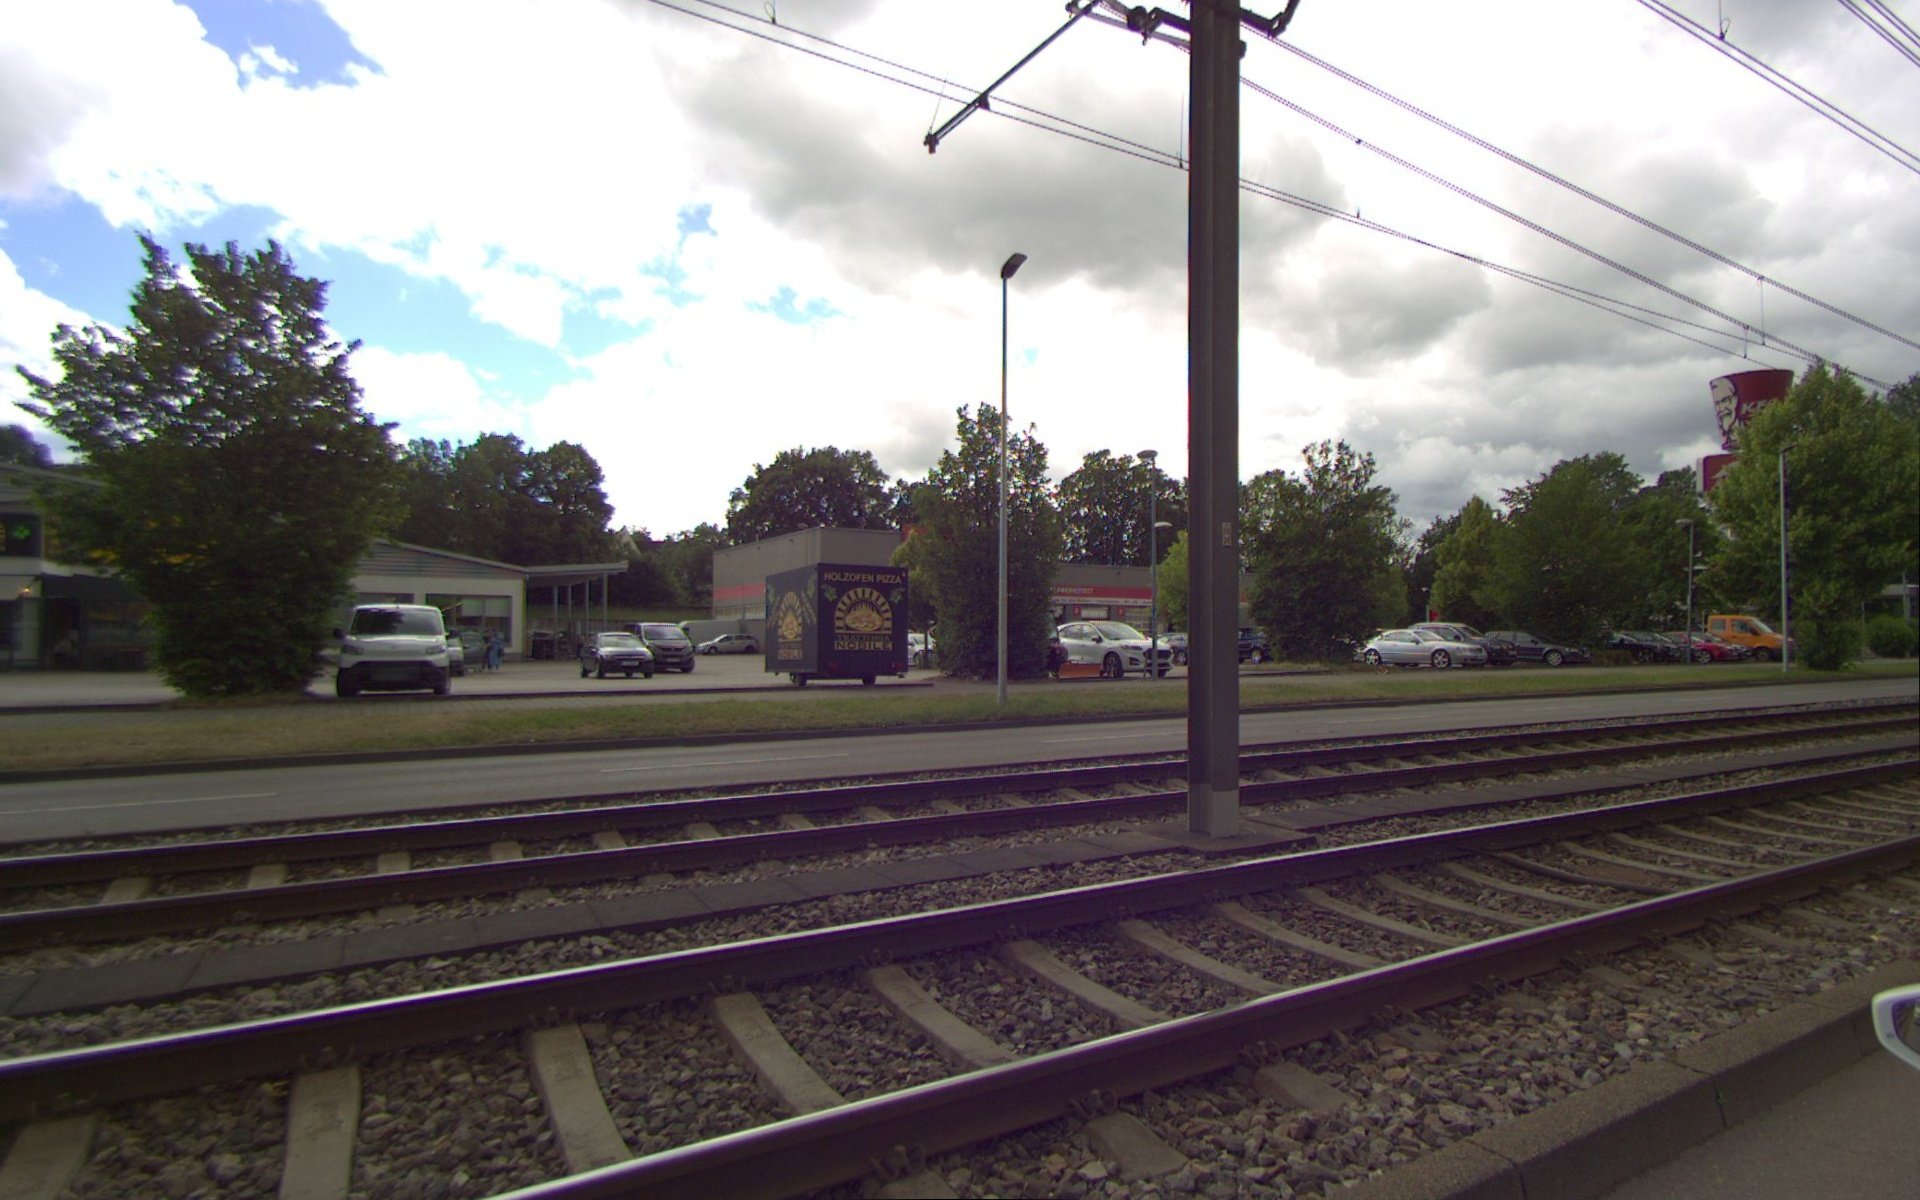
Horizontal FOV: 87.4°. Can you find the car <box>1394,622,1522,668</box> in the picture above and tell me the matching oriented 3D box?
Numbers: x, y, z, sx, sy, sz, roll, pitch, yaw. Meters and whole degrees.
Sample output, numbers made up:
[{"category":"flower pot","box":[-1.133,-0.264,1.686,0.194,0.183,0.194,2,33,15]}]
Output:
[{"category":"car","box":[18.788,1.686,38.025,1.859,1.656,3.963,1,-2,-34]}]

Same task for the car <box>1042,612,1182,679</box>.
[{"category":"car","box":[4.359,1.309,29.239,1.859,1.821,3.963,1,-2,-34]}]

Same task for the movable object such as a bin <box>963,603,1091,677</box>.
[{"category":"movable object such as a bin","box":[1.849,1.156,28.851,1.661,1.963,3.964,1,-3,-33]}]

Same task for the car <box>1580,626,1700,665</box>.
[{"category":"car","box":[29.644,1.960,43.895,1.859,1.620,3.963,1,-2,-34]}]

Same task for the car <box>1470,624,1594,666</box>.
[{"category":"car","box":[23.242,1.828,40.934,1.859,1.620,3.963,1,-2,-34]}]

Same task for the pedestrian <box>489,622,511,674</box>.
[{"category":"pedestrian","box":[-16.861,1.738,36.806,0.656,1.879,0.542,1,-2,-30]}]

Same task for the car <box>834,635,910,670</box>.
[{"category":"car","box":[-3.900,2.283,44.184,1.664,1.491,3.716,1,-3,-36]}]

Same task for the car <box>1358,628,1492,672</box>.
[{"category":"car","box":[16.901,1.770,36.705,1.661,1.491,4.284,1,-2,-32]}]

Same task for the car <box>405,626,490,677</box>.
[{"category":"car","box":[-17.921,1.780,35.012,2.438,1.661,3.903,1,-2,-30]}]

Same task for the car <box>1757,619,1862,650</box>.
[{"category":"car","box":[45.703,1.851,54.112,1.778,1.620,3.963,1,-2,-34]}]

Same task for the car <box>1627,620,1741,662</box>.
[{"category":"car","box":[33.905,1.878,47.135,1.859,1.821,3.962,1,-1,-34]}]

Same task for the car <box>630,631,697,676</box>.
[{"category":"car","box":[-11.597,2.053,39.146,1.668,1.661,3.903,1,-2,-30]}]

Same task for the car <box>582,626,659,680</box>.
[{"category":"car","box":[-11.120,1.693,32.747,1.668,1.661,3.903,1,-2,-30]}]

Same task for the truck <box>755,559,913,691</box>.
[{"category":"truck","box":[-3.105,0.631,24.073,2.350,2.859,3.966,1,-2,-32]}]

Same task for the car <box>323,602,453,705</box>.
[{"category":"car","box":[-11.084,0.996,19.426,1.973,1.750,4.199,1,-2,-31]}]

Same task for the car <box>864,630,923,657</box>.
[{"category":"car","box":[-3.832,2.481,57.348,1.664,1.491,3.716,1,-3,-36]}]

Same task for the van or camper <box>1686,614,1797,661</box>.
[{"category":"van or camper","box":[38.353,1.814,49.370,1.859,2.163,3.962,1,-1,-34]}]

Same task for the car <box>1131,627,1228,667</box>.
[{"category":"car","box":[9.877,2.124,45.562,1.917,1.706,4.265,1,-2,-30]}]

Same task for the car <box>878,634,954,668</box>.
[{"category":"car","box":[-2.026,2.272,45.355,1.664,1.491,3.716,1,-3,-36]}]
